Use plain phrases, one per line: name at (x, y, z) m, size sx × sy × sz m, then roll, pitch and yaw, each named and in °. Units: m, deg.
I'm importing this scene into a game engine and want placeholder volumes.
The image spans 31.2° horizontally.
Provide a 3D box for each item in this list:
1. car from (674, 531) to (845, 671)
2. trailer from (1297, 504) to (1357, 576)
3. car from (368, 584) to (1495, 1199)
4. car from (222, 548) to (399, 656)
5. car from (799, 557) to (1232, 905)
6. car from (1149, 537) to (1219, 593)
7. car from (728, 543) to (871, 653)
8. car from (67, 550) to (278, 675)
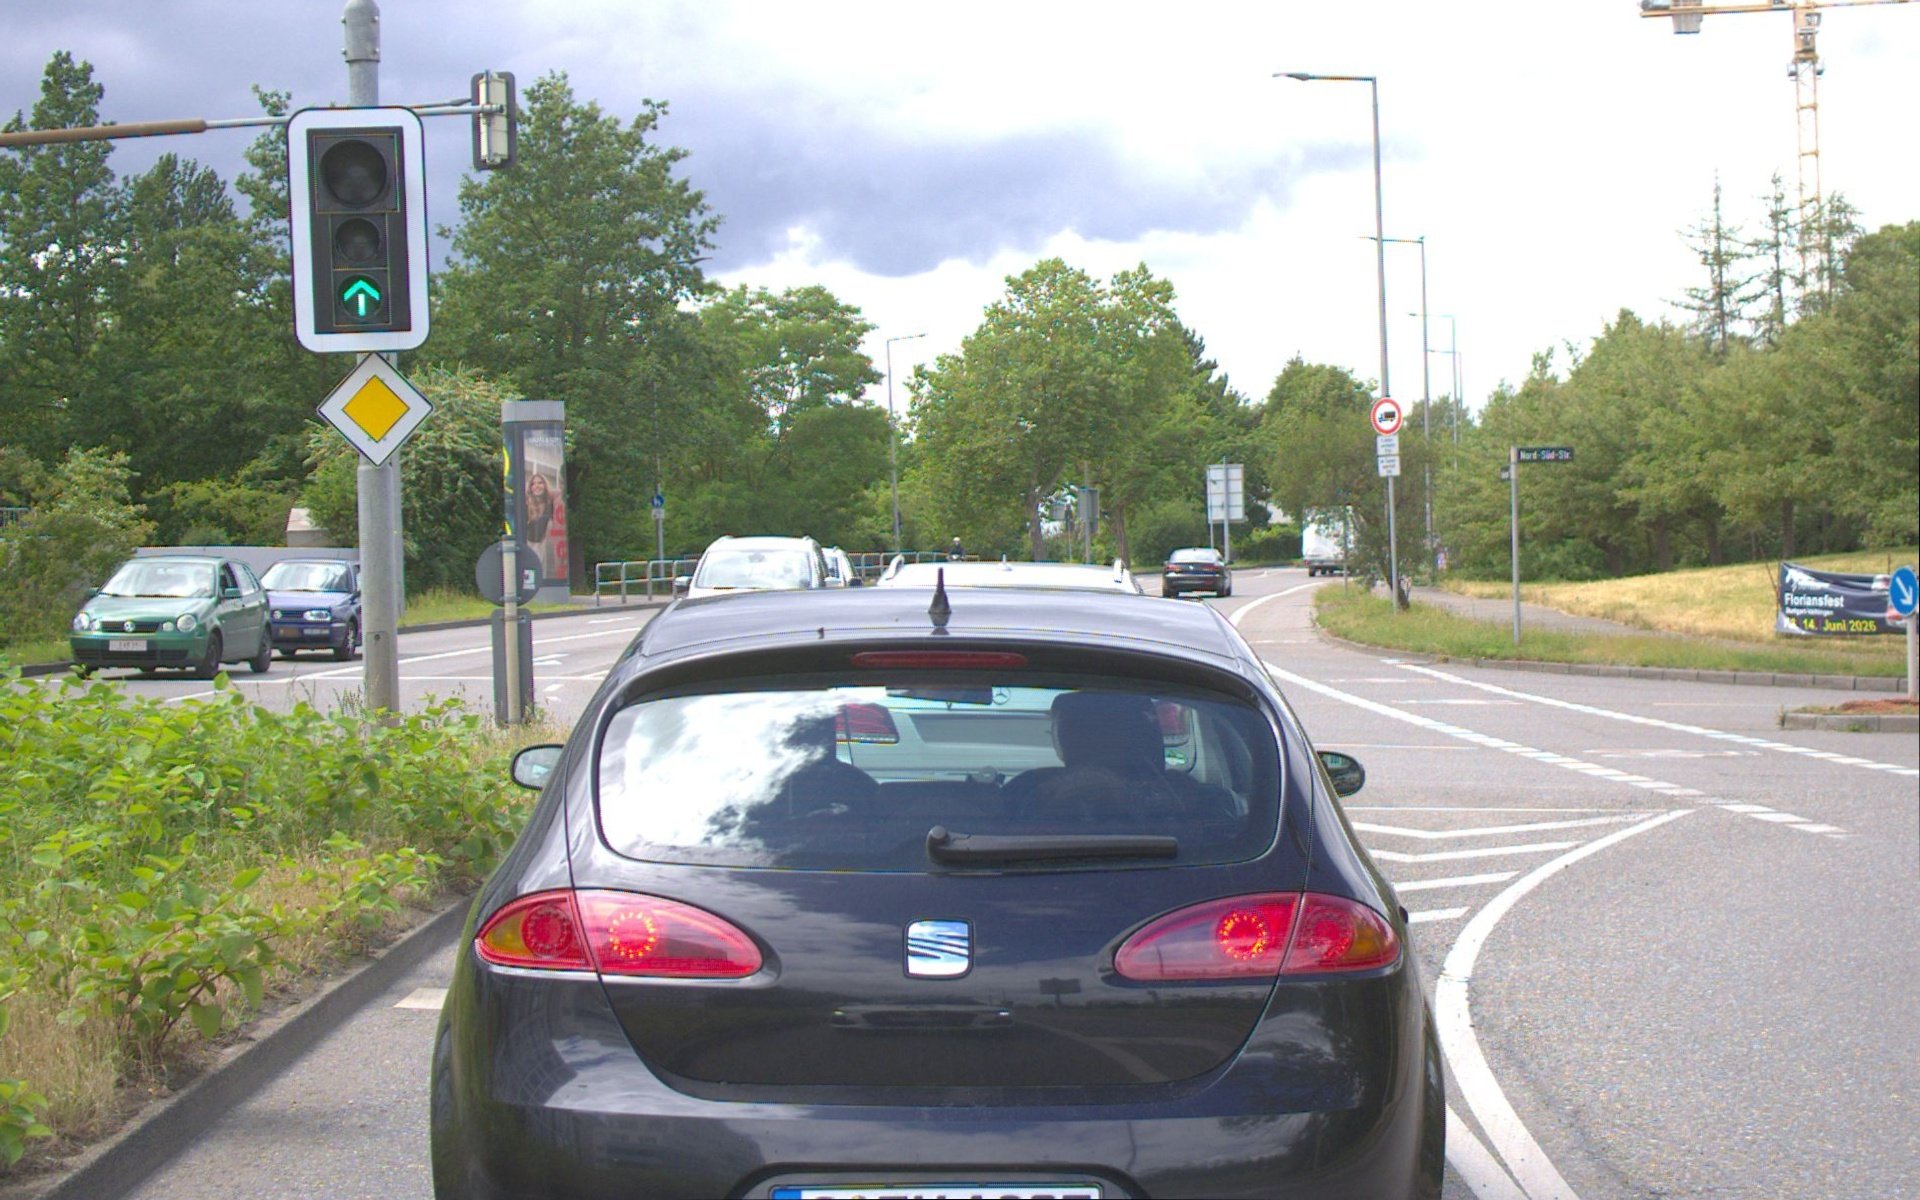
car at (-2.520, -0.034, 44.246) m, size 1.820 × 1.681 × 4.645 m, roll 1°, pitch 1°, yaw 1°
trailer at (16.087, -2.612, 150.611) m, size 2.492 × 3.063 × 5.585 m, roll 1°, pitch 0°, yaw 7°
car at (-0.061, 0.702, 6.975) m, size 1.711 × 1.412 × 3.459 m, roll 0°, pitch 1°, yaw 0°
car at (-9.039, -0.001, 48.102) m, size 1.554 × 1.414 × 3.895 m, roll 0°, pitch 1°, yaw 3°
car at (0.255, 0.547, 16.570) m, size 1.834 × 1.462 × 3.751 m, roll 1°, pitch 0°, yaw 1°
car at (6.530, -1.039, 100.441) m, size 1.994 × 1.560 × 4.470 m, roll 0°, pitch 1°, yaw 3°
car at (-2.306, -0.066, 50.266) m, size 1.660 × 1.513 × 4.084 m, roll 1°, pitch 1°, yaw 3°
car at (-9.460, 0.117, 41.544) m, size 1.605 × 1.427 × 3.752 m, roll 0°, pitch 1°, yaw 2°
